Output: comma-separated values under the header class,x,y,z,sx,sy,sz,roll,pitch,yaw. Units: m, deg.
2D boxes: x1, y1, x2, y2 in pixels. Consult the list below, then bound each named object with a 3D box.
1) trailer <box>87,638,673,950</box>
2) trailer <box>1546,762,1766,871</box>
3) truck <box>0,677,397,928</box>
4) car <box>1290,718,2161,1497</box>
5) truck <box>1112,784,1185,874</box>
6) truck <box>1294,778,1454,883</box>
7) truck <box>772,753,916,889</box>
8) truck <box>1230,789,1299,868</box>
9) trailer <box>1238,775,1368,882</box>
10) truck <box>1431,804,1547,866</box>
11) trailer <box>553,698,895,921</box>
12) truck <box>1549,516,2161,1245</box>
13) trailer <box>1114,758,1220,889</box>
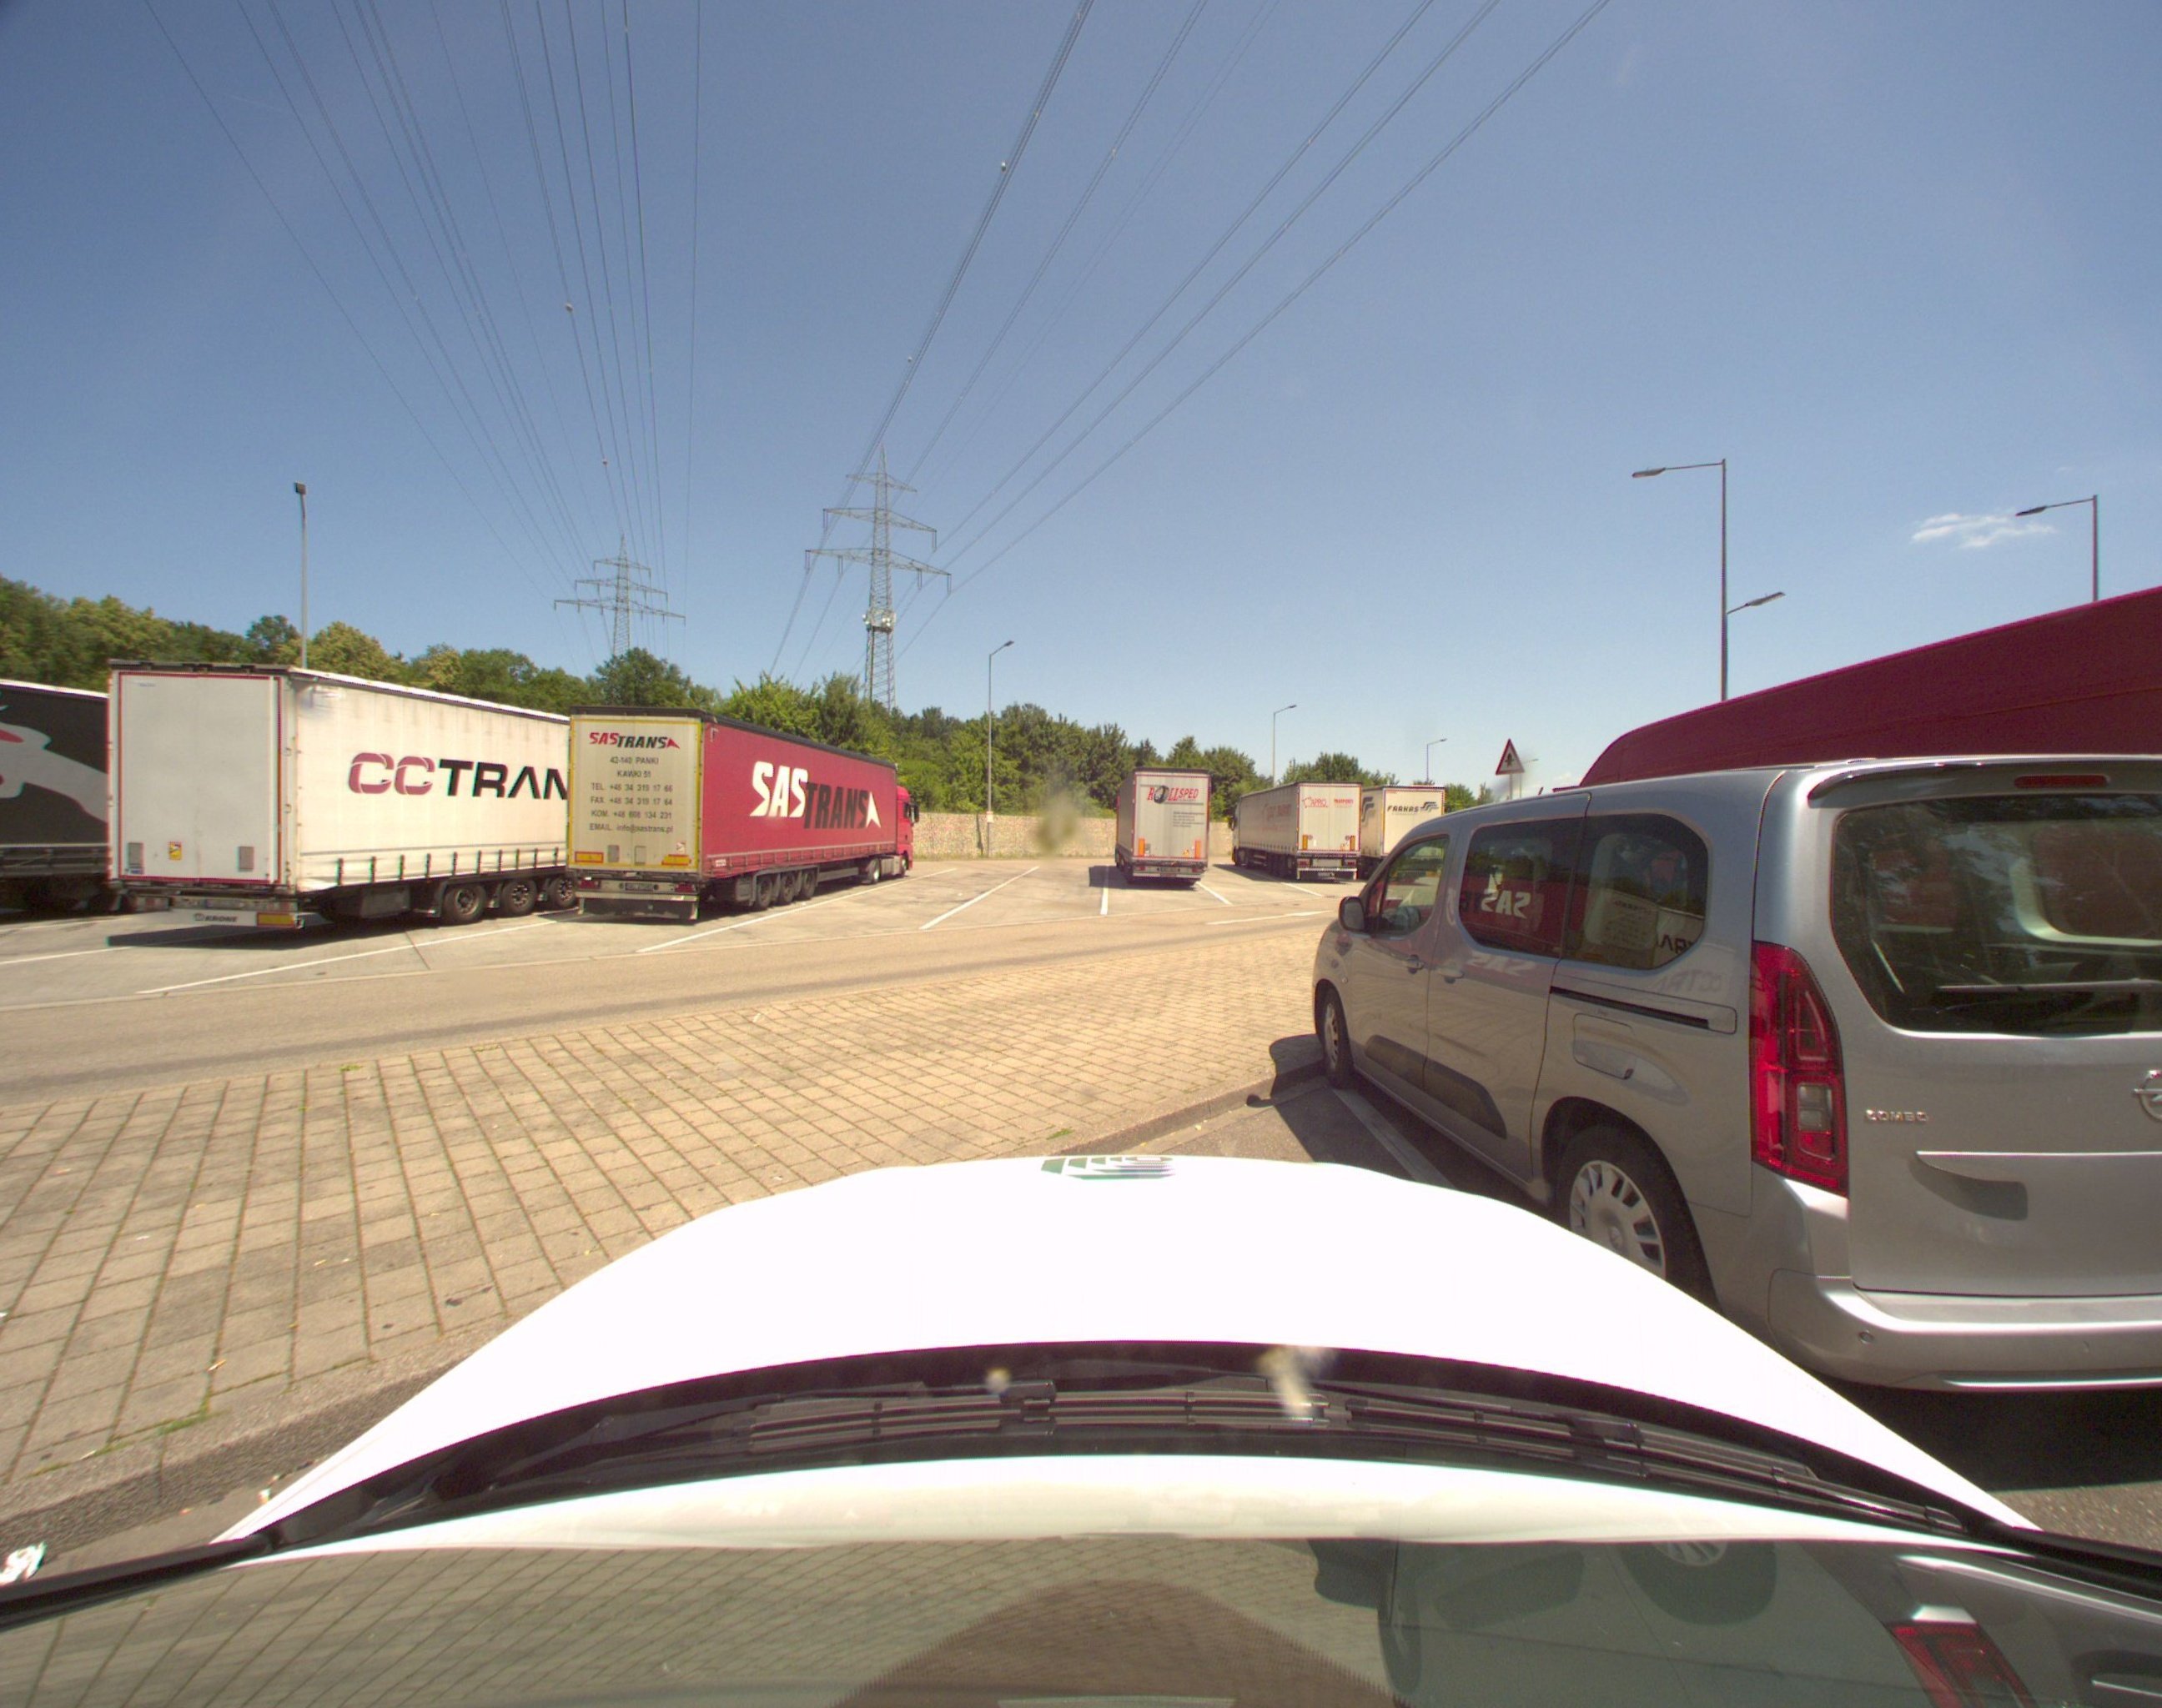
class,x,y,z,sx,sy,sz,roll,pitch,yaw
trailer,-12.104,-0.895,16.089,2.734,4.263,9.740,0,1,3
trailer,24.353,-1.537,34.505,8.674,4.257,2.828,-1,0,-16
truck,-18.516,-0.856,15.983,2.627,4.018,8.640,-1,1,2
car,2.464,0.535,3.868,1.821,1.753,3.998,-1,1,-2
truck,3.123,-1.222,39.527,3.016,3.928,6.848,1,2,1
truck,13.571,-1.056,39.670,2.894,4.124,14.533,2,1,2
truck,-7.843,-1.051,28.032,2.733,4.081,6.832,-1,1,1
truck,10.124,-1.394,45.429,2.747,4.124,5.286,-1,1,2
trailer,9.936,-1.102,38.426,2.865,4.124,13.577,0,1,2
truck,24.459,-1.127,49.451,3.013,3.437,8.534,-1,1,2
trailer,-8.051,-0.917,21.528,2.739,4.057,13.292,-1,1,2
truck,5.094,0.056,4.889,1.983,2.623,5.312,0,1,6
trailer,3.041,-1.187,32.755,3.059,4.227,12.811,1,2,1
